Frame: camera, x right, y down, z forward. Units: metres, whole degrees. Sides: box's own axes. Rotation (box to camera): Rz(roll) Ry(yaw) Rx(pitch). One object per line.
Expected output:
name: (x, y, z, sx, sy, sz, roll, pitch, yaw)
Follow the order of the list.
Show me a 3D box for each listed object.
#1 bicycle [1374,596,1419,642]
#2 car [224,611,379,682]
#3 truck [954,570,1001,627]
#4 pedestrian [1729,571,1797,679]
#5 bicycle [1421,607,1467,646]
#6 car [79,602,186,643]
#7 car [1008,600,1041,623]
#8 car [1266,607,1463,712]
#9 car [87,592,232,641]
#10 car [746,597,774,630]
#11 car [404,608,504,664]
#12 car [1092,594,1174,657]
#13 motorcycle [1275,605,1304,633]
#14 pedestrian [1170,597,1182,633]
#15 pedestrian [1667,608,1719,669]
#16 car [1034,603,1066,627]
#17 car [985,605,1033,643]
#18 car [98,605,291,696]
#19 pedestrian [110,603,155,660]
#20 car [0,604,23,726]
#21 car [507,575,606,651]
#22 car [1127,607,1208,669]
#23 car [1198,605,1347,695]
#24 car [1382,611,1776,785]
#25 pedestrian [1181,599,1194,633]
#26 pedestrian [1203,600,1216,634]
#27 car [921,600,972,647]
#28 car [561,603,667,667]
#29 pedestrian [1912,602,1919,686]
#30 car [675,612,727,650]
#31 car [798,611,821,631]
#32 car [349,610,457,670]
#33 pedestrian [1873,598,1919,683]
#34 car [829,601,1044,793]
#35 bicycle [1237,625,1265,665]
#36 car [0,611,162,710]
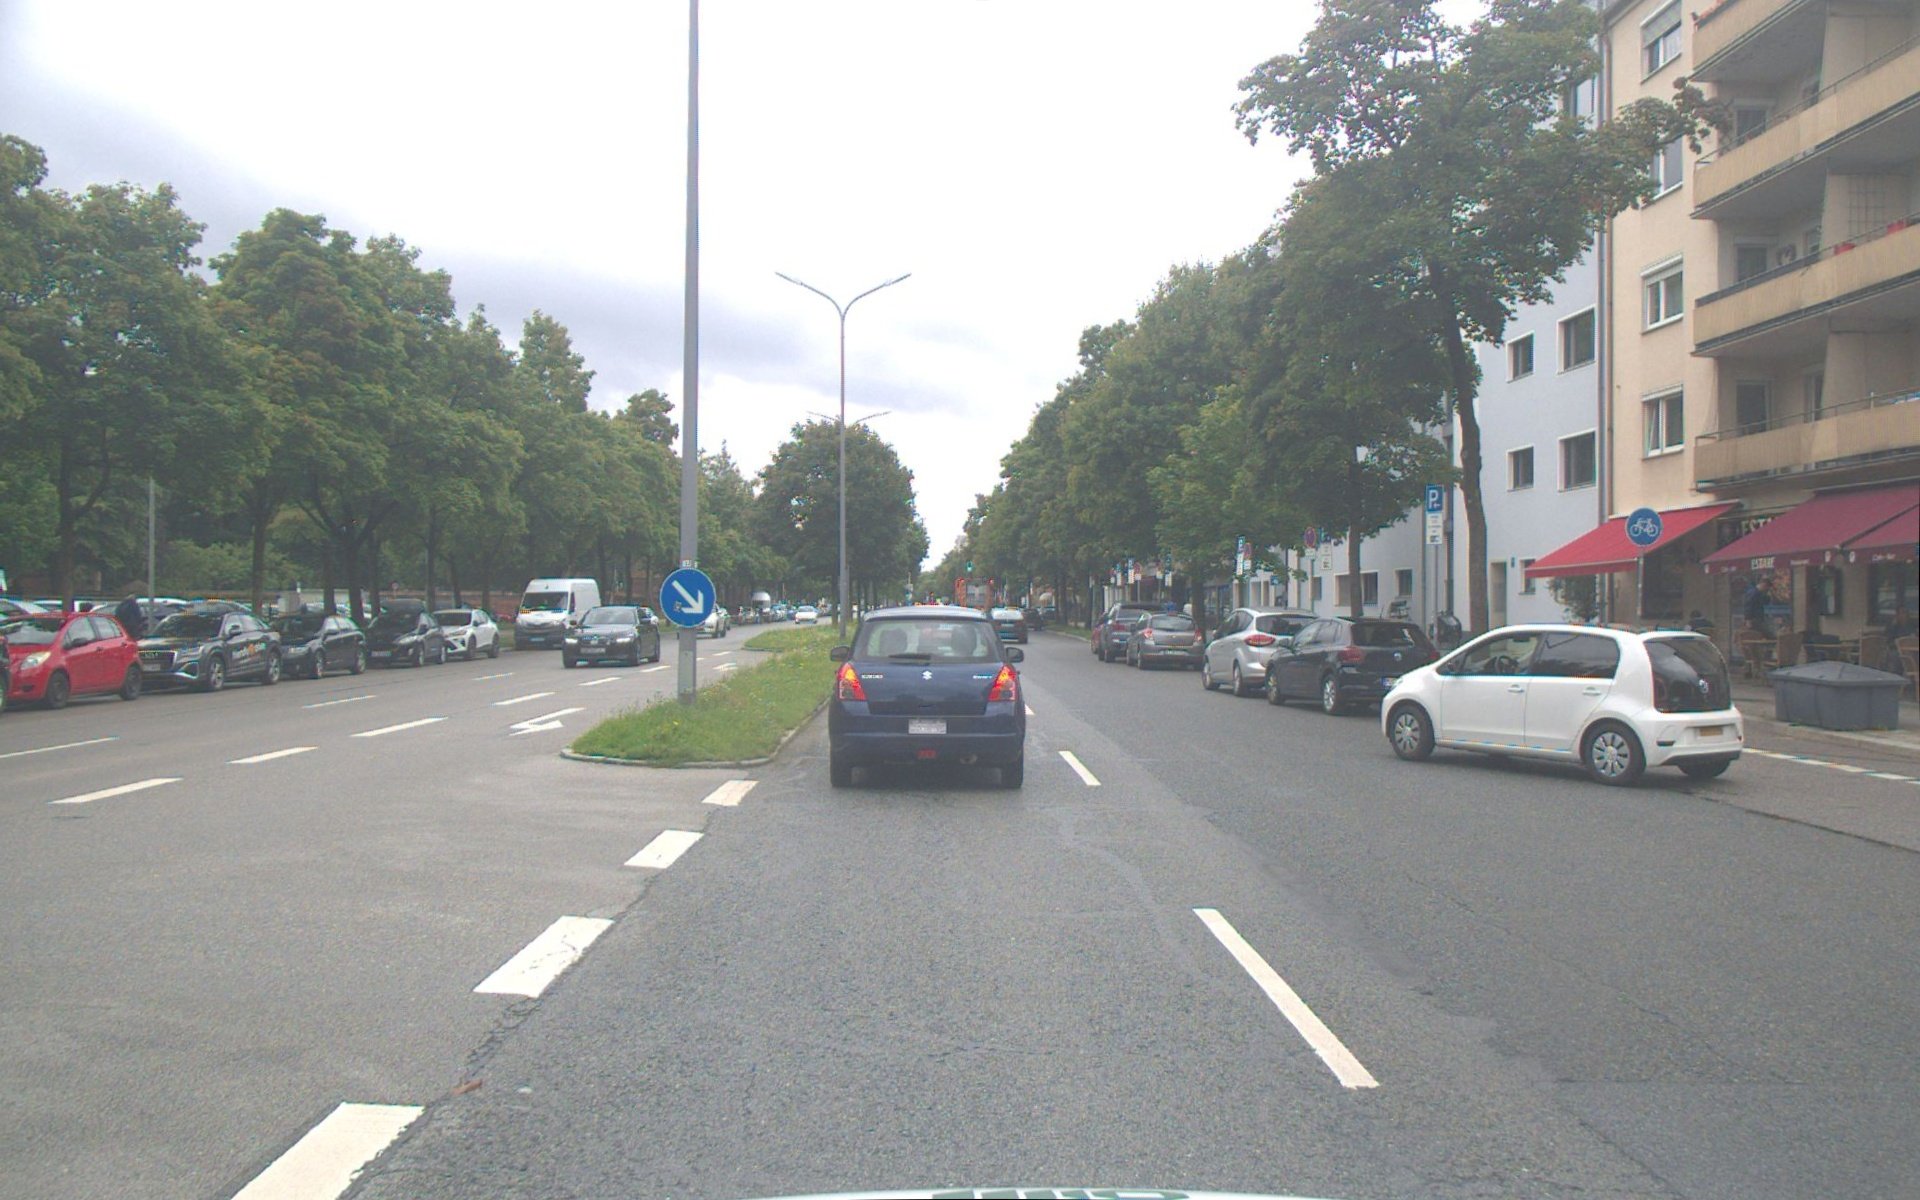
bicycle: (13.925, 0.596, 52.828, 0.688, 1.432, 2.592, -2, 0, -1)
car: (-14.768, 1.006, 37.317, 1.784, 1.434, 4.000, -2, 0, 1)
truck: (1.104, -0.095, 113.591, 2.979, 3.619, 13.672, 1, 0, 0)
pedestrian: (14.775, 0.455, 30.454, 0.854, 1.963, 0.757, 0, 0, -17)
bicycle: (14.112, 0.769, 48.320, 0.609, 1.064, 2.195, -4, 0, -1)
car: (-42.153, 1.141, 84.331, 4.414, 2.070, 1.999, 0, 0, -2)
car: (4.208, 0.777, 108.772, 1.953, 1.477, 3.999, 0, 0, -1)
car: (6.167, 0.861, 25.664, 1.794, 1.499, 3.883, 0, 0, -6)
car: (-26.619, 0.530, 55.073, 3.905, 1.598, 1.815, 0, 0, 0)
car: (-18.773, 1.253, 155.590, 2.142, 3.005, 6.187, 1, 0, -4)
car: (-14.980, 1.061, 49.186, 1.785, 1.554, 4.297, -2, -1, -2)
car: (5.051, 0.713, 48.755, 1.792, 1.777, 4.506, 0, 0, -2)
motorcycle: (13.481, 0.782, 67.699, 0.745, 1.105, 2.199, 0, 0, -1)
pedestrian: (10.591, 0.718, 81.126, 0.489, 1.764, 0.732, 0, 0, -1)
pedestrian: (14.346, 0.746, 32.389, 0.728, 1.184, 0.646, 0, 0, -1)
car: (6.342, 1.054, 116.413, 1.953, 1.671, 4.332, 0, 0, -1)
car: (2.057, 1.018, 71.110, 1.785, 1.503, 4.689, 2, 0, -1)
car: (-14.629, 0.923, 31.879, 1.784, 1.627, 4.112, 0, 0, 0)
pedestrian: (-22.323, 0.850, 44.625, 0.778, 1.521, 0.856, 0, 0, -1)
car: (-14.480, 0.890, 21.949, 1.785, 1.729, 4.237, 0, -1, -2)
car: (-15.282, 0.451, 63.096, 2.096, 2.690, 7.104, -1, 0, -1)
car: (5.439, 0.960, 43.700, 1.791, 1.549, 3.772, 0, 0, 2)
car: (5.770, 0.875, 31.064, 1.792, 1.549, 4.521, 0, 0, -2)
car: (6.076, 0.879, 16.535, 1.671, 1.516, 3.395, 0, 0, -33)
pedestrian: (11.156, 0.764, 81.149, 0.537, 1.658, 0.641, -1, 0, -1)
pedestrian: (12.312, 0.851, 81.539, 0.530, 1.669, 0.724, 0, 0, -1)
car: (-0.492, 0.771, 56.606, 1.684, 1.527, 4.299, 1, 0, -1)
car: (-8.639, 0.836, 41.698, 1.779, 1.473, 4.780, -1, 0, -2)
pedestrian: (15.071, 0.676, 25.474, 0.527, 1.290, 0.486, 0, 0, -2)
car: (-12.288, 1.455, 78.664, 1.813, 1.628, 4.402, -2, 0, -1)
car: (-13.058, 1.824, 143.749, 1.726, 1.564, 4.311, -3, 0, -4)
car: (-14.747, 1.029, 43.980, 1.786, 1.473, 3.995, -1, 0, -5)
pedestrian: (15.152, 0.652, 26.696, 0.527, 1.362, 0.552, 0, 0, -2)
car: (-0.196, 0.782, 15.286, 1.717, 1.531, 4.000, 0, 0, 0)
bicycle: (7.344, 1.135, 41.813, 0.377, 0.963, 1.675, 0, 0, -1)
car: (-14.847, 0.958, 27.114, 1.785, 1.505, 3.808, 0, -1, -2)
